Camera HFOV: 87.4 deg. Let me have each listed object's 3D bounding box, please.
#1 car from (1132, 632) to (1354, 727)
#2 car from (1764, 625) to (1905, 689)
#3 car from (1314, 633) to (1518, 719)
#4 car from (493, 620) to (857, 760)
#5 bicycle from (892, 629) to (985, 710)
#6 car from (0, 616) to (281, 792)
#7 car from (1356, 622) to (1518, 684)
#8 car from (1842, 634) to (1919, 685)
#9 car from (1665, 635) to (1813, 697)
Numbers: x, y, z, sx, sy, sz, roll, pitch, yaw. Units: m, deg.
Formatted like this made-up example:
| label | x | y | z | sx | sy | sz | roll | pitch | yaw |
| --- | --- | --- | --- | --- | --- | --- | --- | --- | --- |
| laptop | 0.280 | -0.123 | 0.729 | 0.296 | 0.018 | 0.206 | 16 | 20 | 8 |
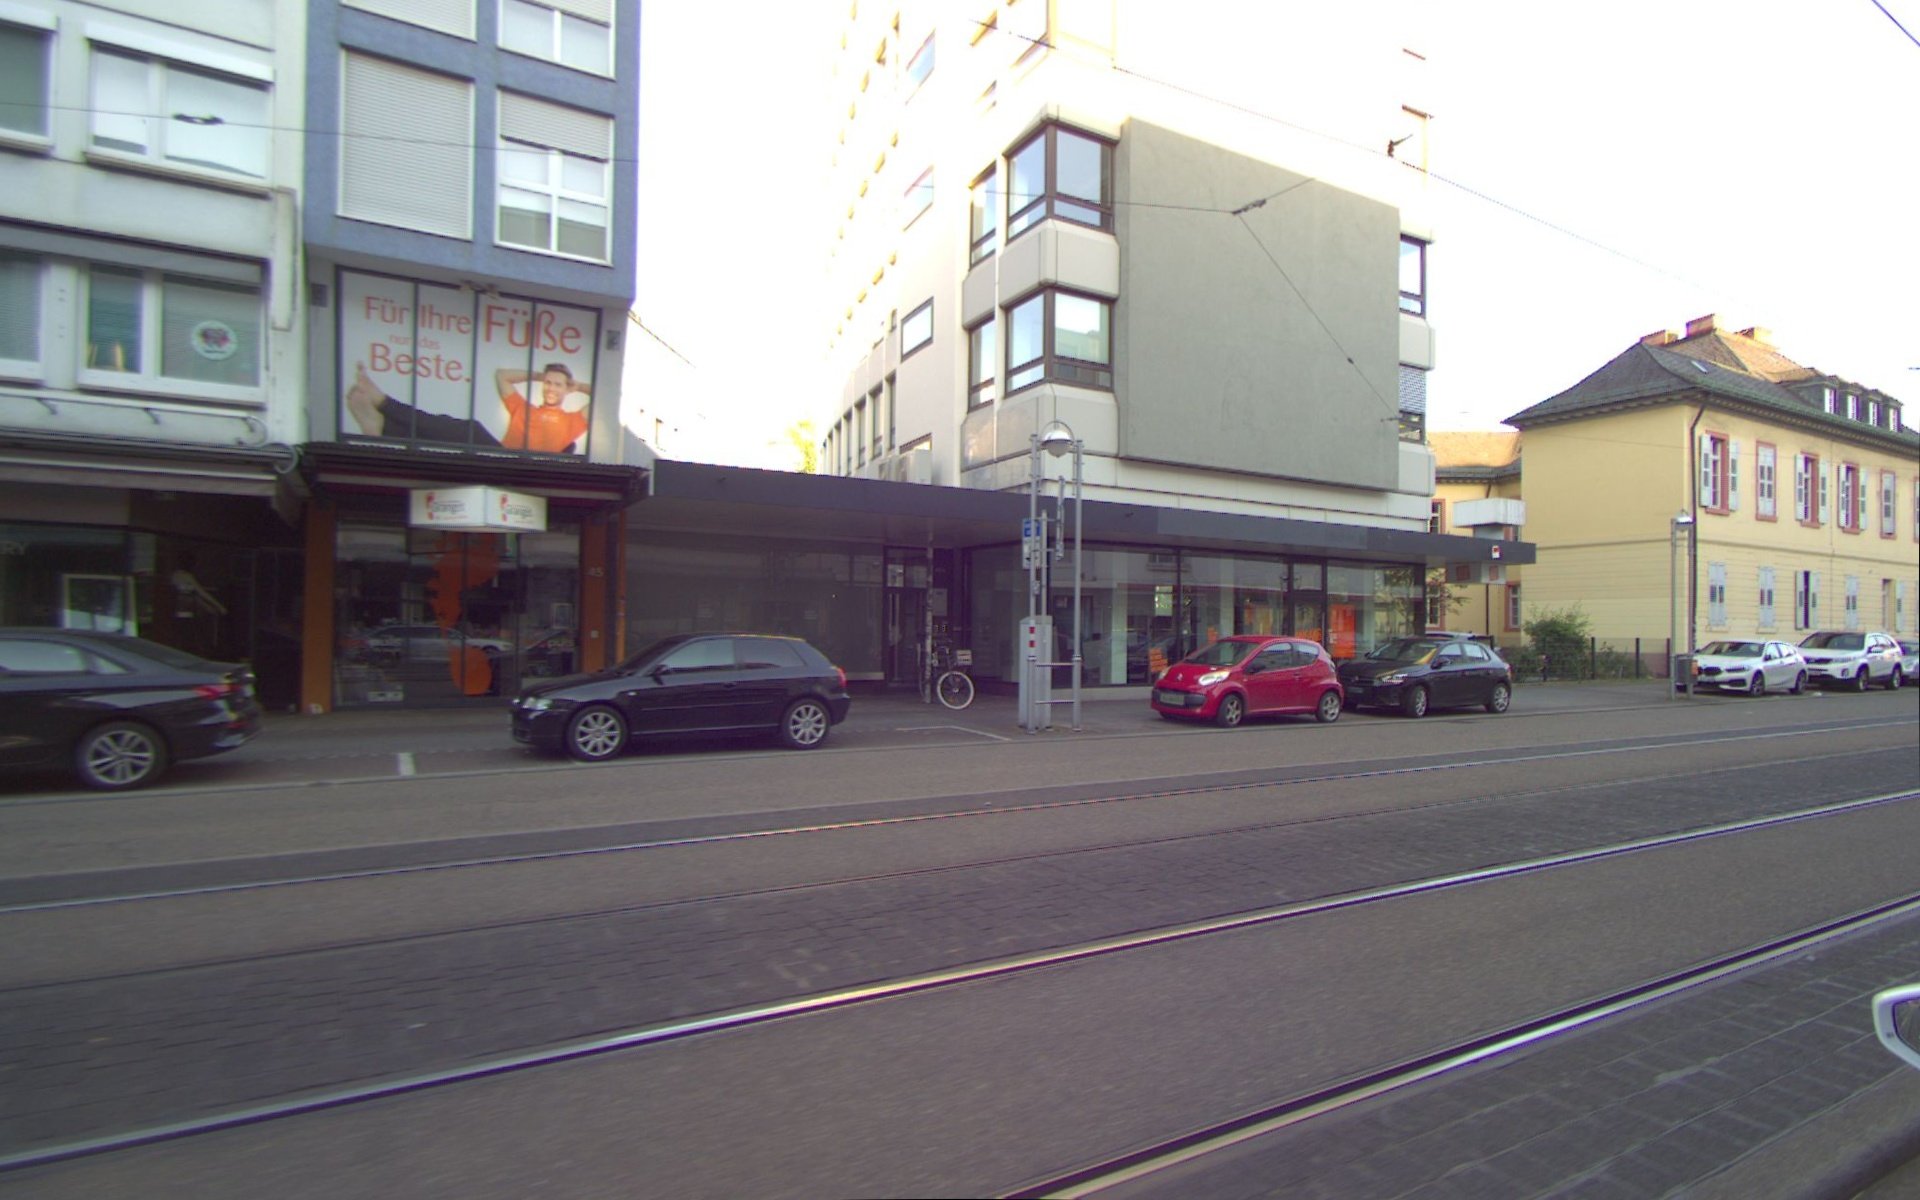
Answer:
| label | x | y | z | sx | sy | sz | roll | pitch | yaw |
| --- | --- | --- | --- | --- | --- | --- | --- | --- | --- |
| car | 4.871 | 1.296 | 17.221 | 3.550 | 1.453 | 1.684 | 1 | -1 | -30 |
| car | 25.946 | 1.651 | 29.761 | 4.709 | 1.683 | 1.876 | 1 | 0 | -32 |
| car | 8.970 | 1.425 | 19.698 | 3.919 | 1.444 | 1.683 | 1 | 1 | -30 |
| car | -3.490 | 1.020 | 12.434 | 4.042 | 1.480 | 1.782 | 1 | -2 | -29 |
| bicycle | -0.430 | 1.269 | 18.890 | 0.865 | 1.358 | 2.037 | 2 | 0 | -29 |
| car | -9.042 | 0.897 | 9.178 | 4.517 | 1.445 | 1.863 | 2 | 0 | -30 |
| car | 14.079 | 1.535 | 29.843 | 1.893 | 1.573 | 3.965 | 2 | 0 | -31 |
| car | 30.815 | 1.905 | 32.910 | 3.953 | 1.494 | 1.739 | 1 | 0 | -31 |
| car | 20.845 | 1.721 | 26.844 | 4.234 | 1.472 | 1.712 | 1 | 0 | -31 |
